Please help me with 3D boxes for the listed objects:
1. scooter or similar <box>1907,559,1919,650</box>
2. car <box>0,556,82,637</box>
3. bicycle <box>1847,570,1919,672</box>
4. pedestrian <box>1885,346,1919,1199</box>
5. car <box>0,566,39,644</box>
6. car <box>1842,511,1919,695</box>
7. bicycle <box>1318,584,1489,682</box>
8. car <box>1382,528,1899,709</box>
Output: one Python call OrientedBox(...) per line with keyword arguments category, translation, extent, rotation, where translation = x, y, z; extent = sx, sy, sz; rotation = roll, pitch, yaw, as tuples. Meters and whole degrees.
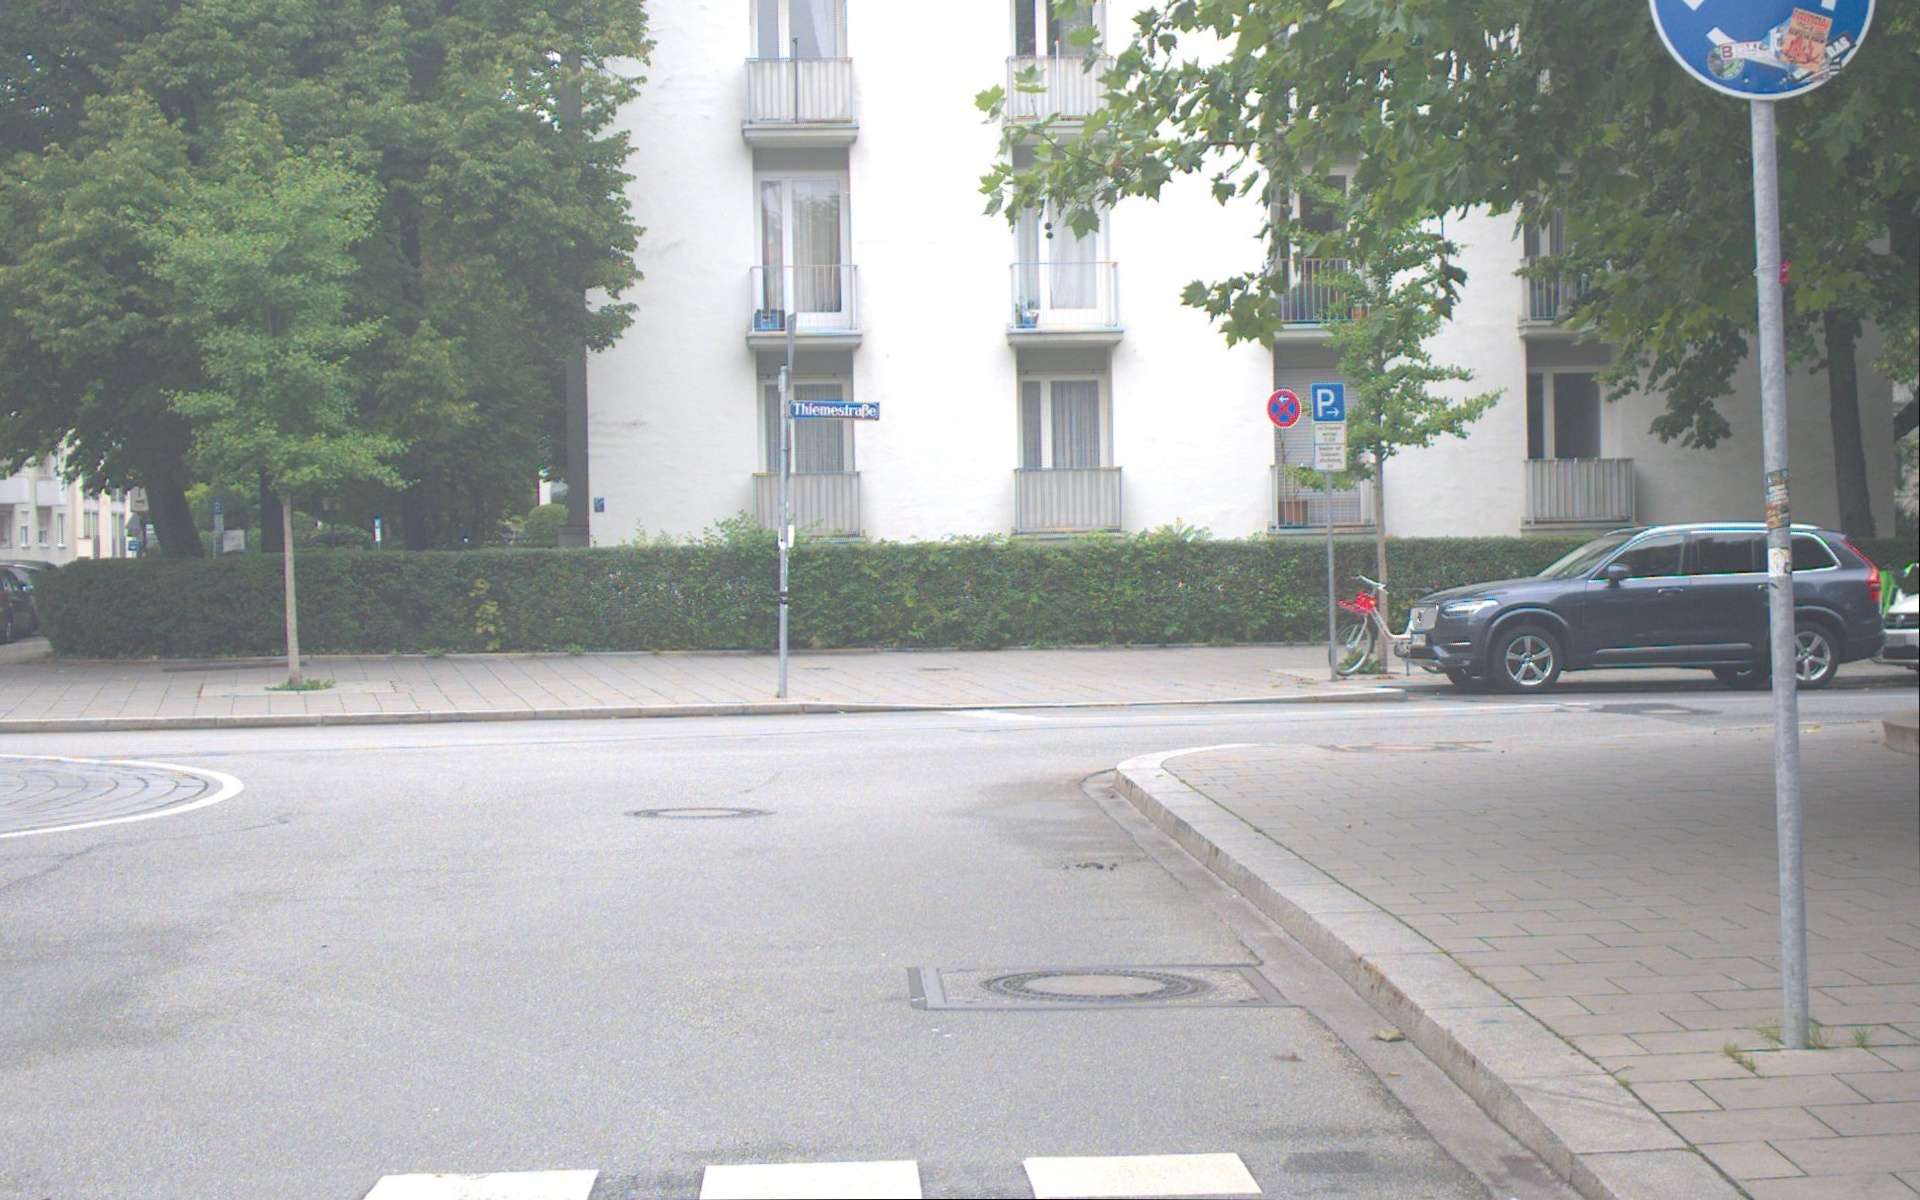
OrientedBox(category="scooter or similar", translation=(13.106, 0.052, 45.184), extent=(1.211, 1.189, 0.400), rotation=(0, 1, -6))
OrientedBox(category="car", translation=(-20.054, -0.083, 73.309), extent=(1.835, 1.629, 4.116), rotation=(-2, 1, -4))
OrientedBox(category="bicycle", translation=(10.951, 0.233, 39.010), extent=(0.536, 1.145, 1.830), rotation=(-1, 1, -32))
OrientedBox(category="pedestrian", translation=(2.366, 0.402, 6.612), extent=(0.875, 1.765, 1.050), rotation=(-1, 1, 30))
OrientedBox(category="car", translation=(-19.642, 0.108, 68.715), extent=(1.835, 1.500, 4.116), rotation=(-2, 1, -8))
OrientedBox(category="car", translation=(12.167, 0.005, 36.993), extent=(4.831, 1.912, 1.836), rotation=(-1, 0, -10))
OrientedBox(category="bicycle", translation=(4.943, 0.363, 38.292), extent=(1.824, 1.045, 0.492), rotation=(-1, 1, -15))
OrientedBox(category="car", translation=(7.087, 0.185, 36.032), extent=(4.895, 1.786, 2.000), rotation=(-1, 0, -9))
